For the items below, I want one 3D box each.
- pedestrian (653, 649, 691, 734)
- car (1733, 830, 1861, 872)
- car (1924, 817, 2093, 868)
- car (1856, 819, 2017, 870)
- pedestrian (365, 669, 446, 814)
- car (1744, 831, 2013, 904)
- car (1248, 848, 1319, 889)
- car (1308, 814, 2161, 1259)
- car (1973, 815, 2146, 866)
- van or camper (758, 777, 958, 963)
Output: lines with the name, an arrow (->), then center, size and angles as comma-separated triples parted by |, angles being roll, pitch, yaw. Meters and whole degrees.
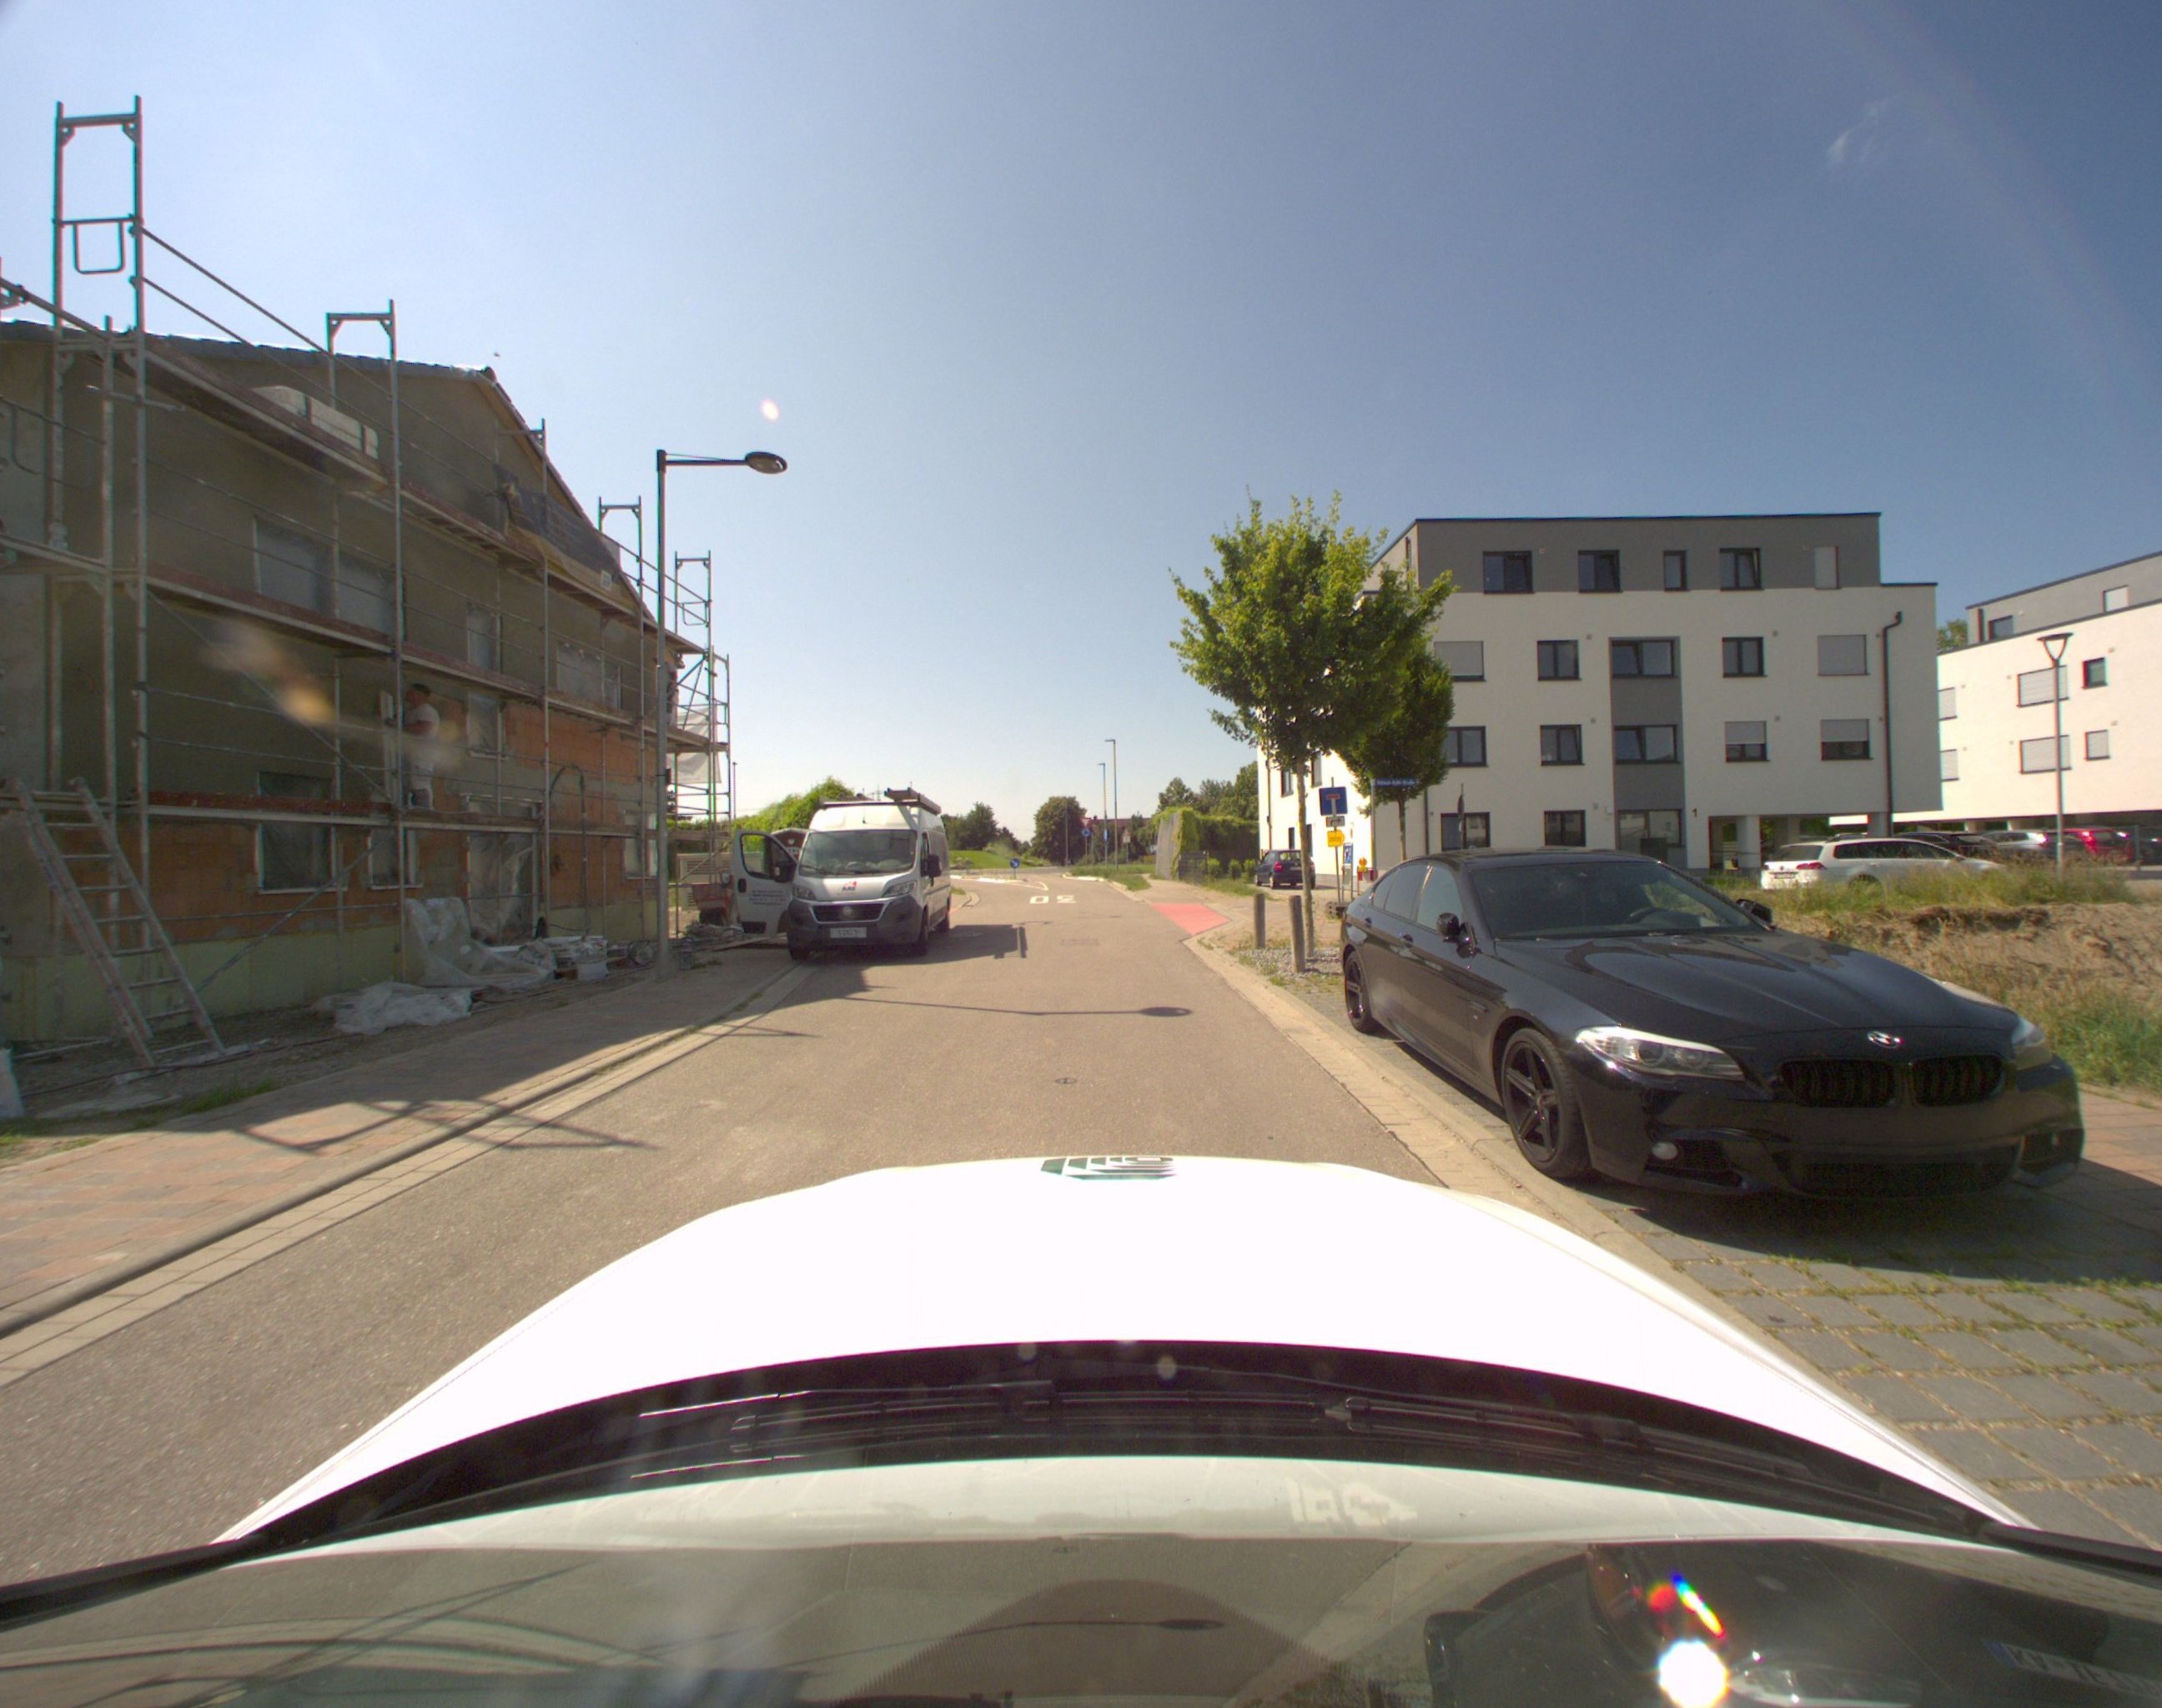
pedestrian -> -8.236, -3.241, 16.388 | 0.566, 1.500, 0.740 | 0, -3, -36
car -> 28.392, -0.074, 32.463 | 1.870, 1.503, 3.679 | -2, -1, 1
car -> 36.093, -0.396, 31.883 | 1.870, 1.810, 4.172 | -2, -1, 1
car -> 33.191, -0.312, 31.801 | 1.870, 1.810, 4.172 | -2, -1, 1
pedestrian -> -8.475, -1.377, 10.227 | 0.752, 1.680, 0.571 | 0, -3, -41
car -> 17.581, 0.305, 18.112 | 4.145, 1.436, 1.882 | -2, -1, -1
car -> 7.814, 0.523, 31.727 | 1.673, 1.469, 4.114 | 0, 0, -1
car -> 3.067, 0.615, 5.382 | 1.910, 1.469, 5.144 | -3, 0, 3
car -> 38.713, -0.480, 32.403 | 1.870, 1.810, 4.172 | -2, -1, 1
van or camper -> -3.607, 0.259, 14.643 | 2.269, 2.553, 6.356 | -1, -1, -5
